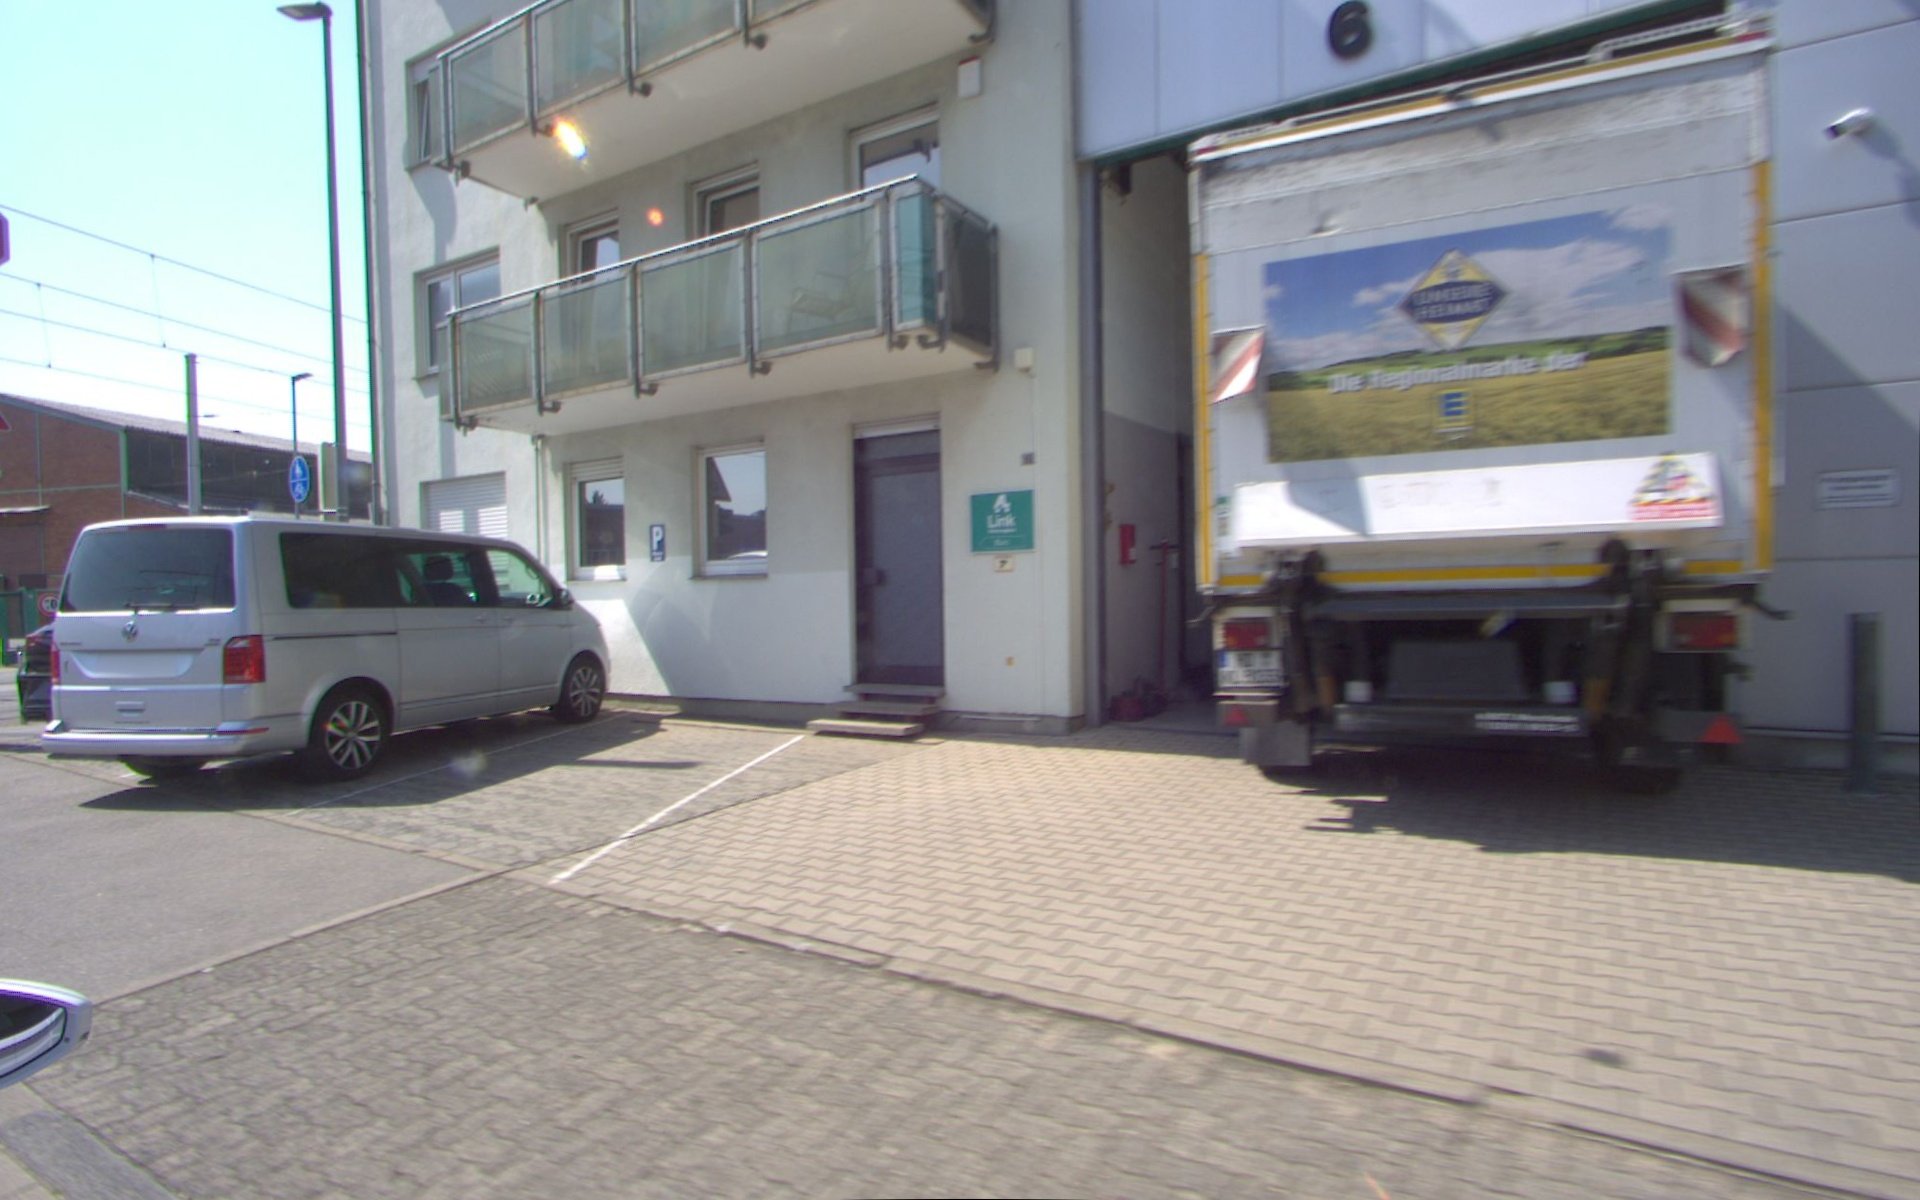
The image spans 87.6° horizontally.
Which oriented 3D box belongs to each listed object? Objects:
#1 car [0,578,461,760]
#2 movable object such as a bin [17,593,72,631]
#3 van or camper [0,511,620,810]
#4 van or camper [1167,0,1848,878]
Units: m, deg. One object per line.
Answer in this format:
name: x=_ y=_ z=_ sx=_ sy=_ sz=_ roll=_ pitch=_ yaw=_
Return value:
car: x=-7.388 y=0.596 z=10.593 sx=1.844 sy=1.541 sz=3.972 roll=-1 pitch=0 yaw=8
movable object such as a bin: x=-33.016 y=0.417 z=36.128 sx=1.131 sy=1.332 sz=0.976 roll=-1 pitch=2 yaw=16
van or camper: x=-5.166 y=0.363 z=8.903 sx=1.962 sy=1.934 sz=4.551 roll=0 pitch=1 yaw=12
van or camper: x=4.724 y=-0.792 z=9.904 sx=2.735 sy=3.742 sz=11.598 roll=0 pitch=1 yaw=24
